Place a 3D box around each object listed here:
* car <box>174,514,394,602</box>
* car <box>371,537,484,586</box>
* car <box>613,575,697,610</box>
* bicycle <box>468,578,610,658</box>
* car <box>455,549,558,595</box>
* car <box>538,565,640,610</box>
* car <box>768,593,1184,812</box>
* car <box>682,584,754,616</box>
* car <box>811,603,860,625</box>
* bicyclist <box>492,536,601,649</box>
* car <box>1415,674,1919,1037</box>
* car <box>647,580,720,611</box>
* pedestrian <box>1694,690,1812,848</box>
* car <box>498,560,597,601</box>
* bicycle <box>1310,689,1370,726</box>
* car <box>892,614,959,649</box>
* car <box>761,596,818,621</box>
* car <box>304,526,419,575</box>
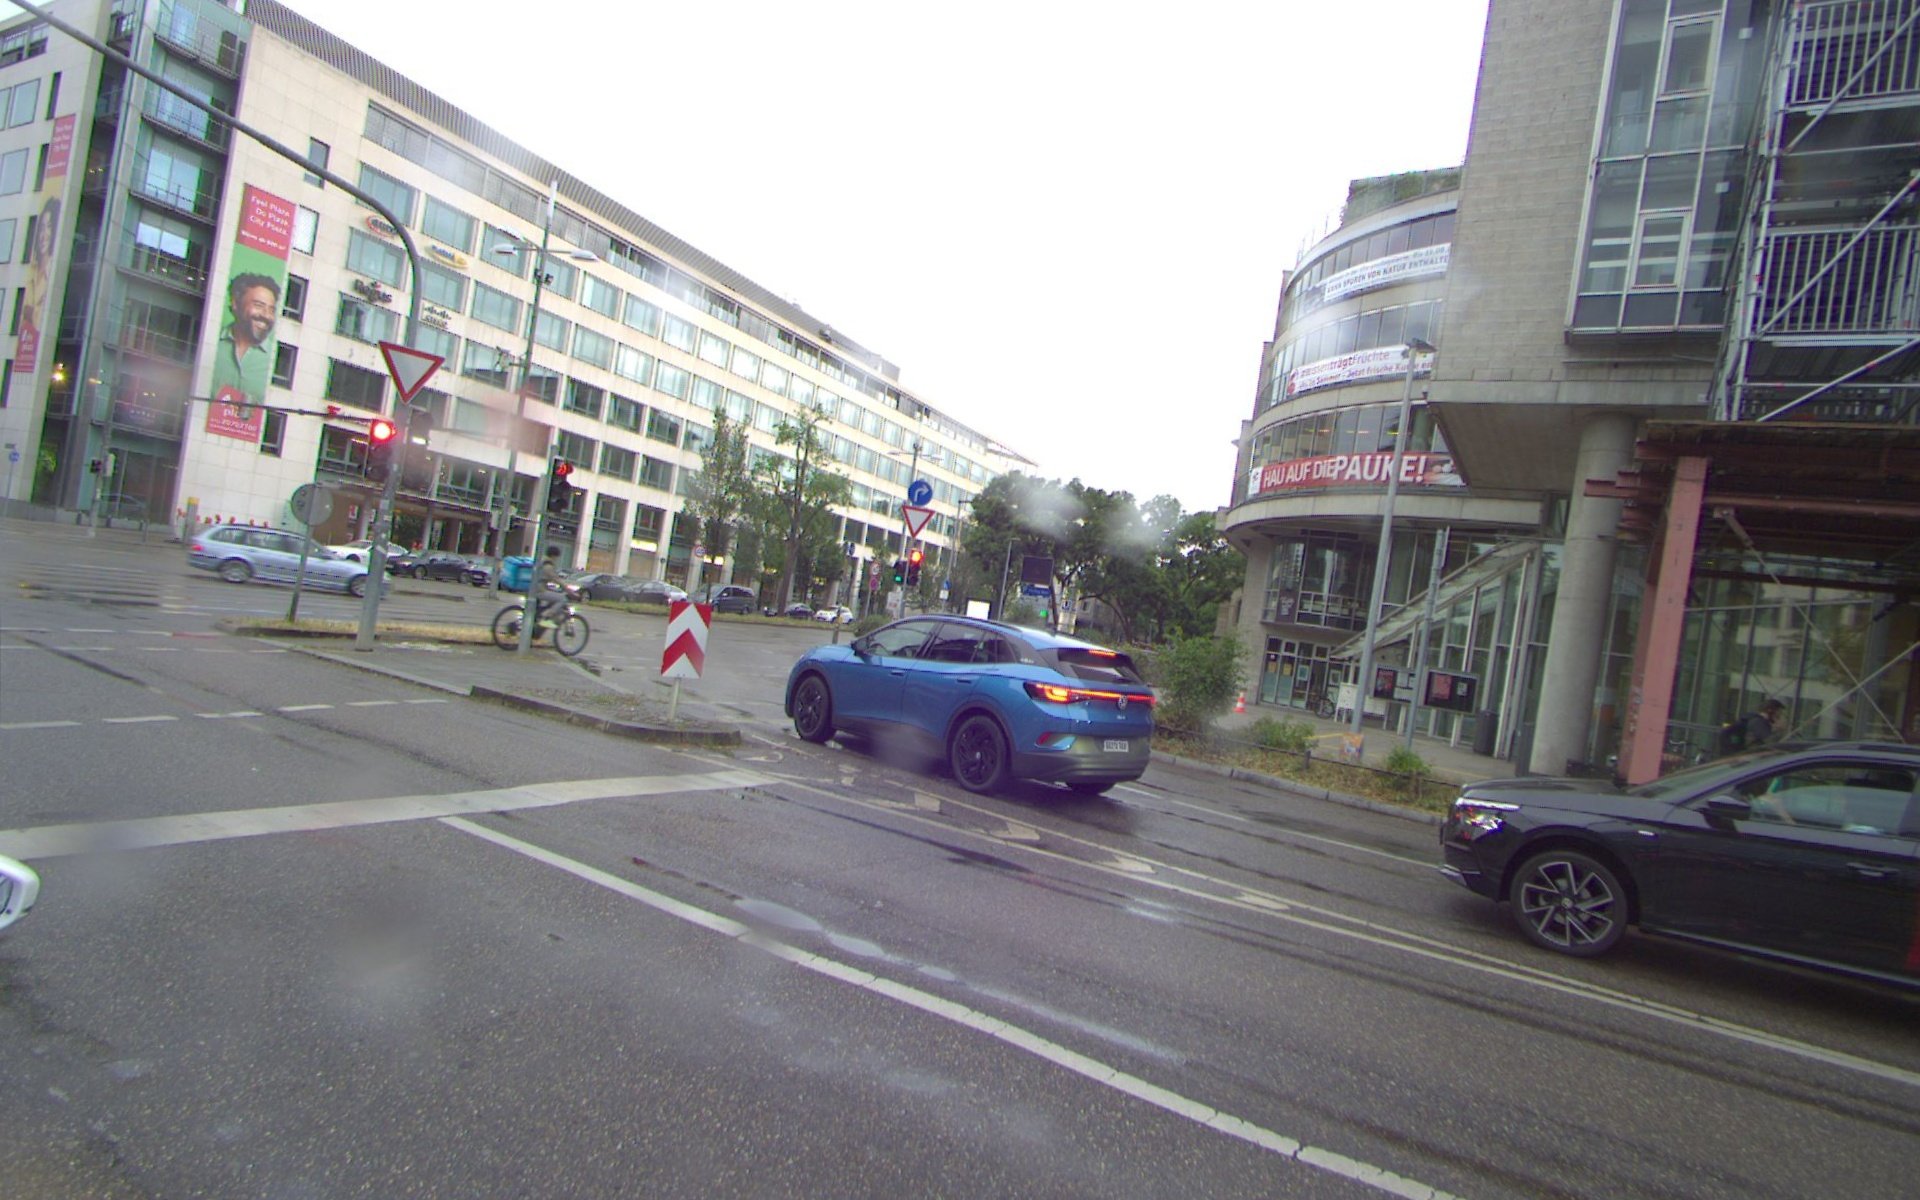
[{"bbox_3d":[-17.212,-1.058,25.769,4.428,1.504,1.979,9,0,-37],"label":"car"},{"bbox_3d":[-25.182,-1.782,47.787,1.963,1.616,4.468,7,-1,20],"label":"car"},{"bbox_3d":[-16.502,-0.372,54.668,1.891,1.364,4.654,7,-2,19],"label":"car"},{"bbox_3d":[-7.015,0.339,16.914,0.832,1.116,2.153,7,-1,22],"label":"bicycle"},{"bbox_3d":[-21.853,-1.321,48.714,1.962,1.616,4.469,7,-1,17],"label":"car"},{"bbox_3d":[-16.549,-0.526,45.114,1.690,1.481,4.468,7,-2,19],"label":"car"},{"bbox_3d":[-0.039,0.950,10.605,1.699,1.547,4.373,9,-2,-43],"label":"car"},{"bbox_3d":[-14.372,0.045,60.077,1.891,1.364,4.654,7,-2,19],"label":"car"},{"bbox_3d":[-10.588,1.186,85.764,1.892,1.364,4.650,7,-2,24],"label":"car"},{"bbox_3d":[-6.958,-0.099,16.992,0.833,1.724,1.299,7,-1,24],"label":"bicyclist"},{"bbox_3d":[5.242,1.546,6.200,4.080,1.558,1.780,7,-1,34],"label":"car"},{"bbox_3d":[-17.039,-0.251,62.286,1.891,1.364,4.653,7,-2,21],"label":"car"},{"bbox_3d":[10.549,2.221,13.417,1.041,1.874,0.679,7,0,39],"label":"pedestrian"},{"bbox_3d":[-19.099,-0.878,46.784,1.690,1.364,4.469,7,-2,17],"label":"car"},{"bbox_3d":[13.439,3.798,35.621,1.816,0.995,0.757,8,-1,12],"label":"bicycle"},{"bbox_3d":[-1.990,1.884,59.628,1.964,1.568,4.555,7,-1,24],"label":"car"},{"bbox_3d":[-12.456,0.641,73.832,1.891,1.364,4.653,7,-2,21],"label":"car"},{"bbox_3d":[-28.632,-2.336,48.304,1.962,1.616,4.469,7,-1,17],"label":"car"}]
